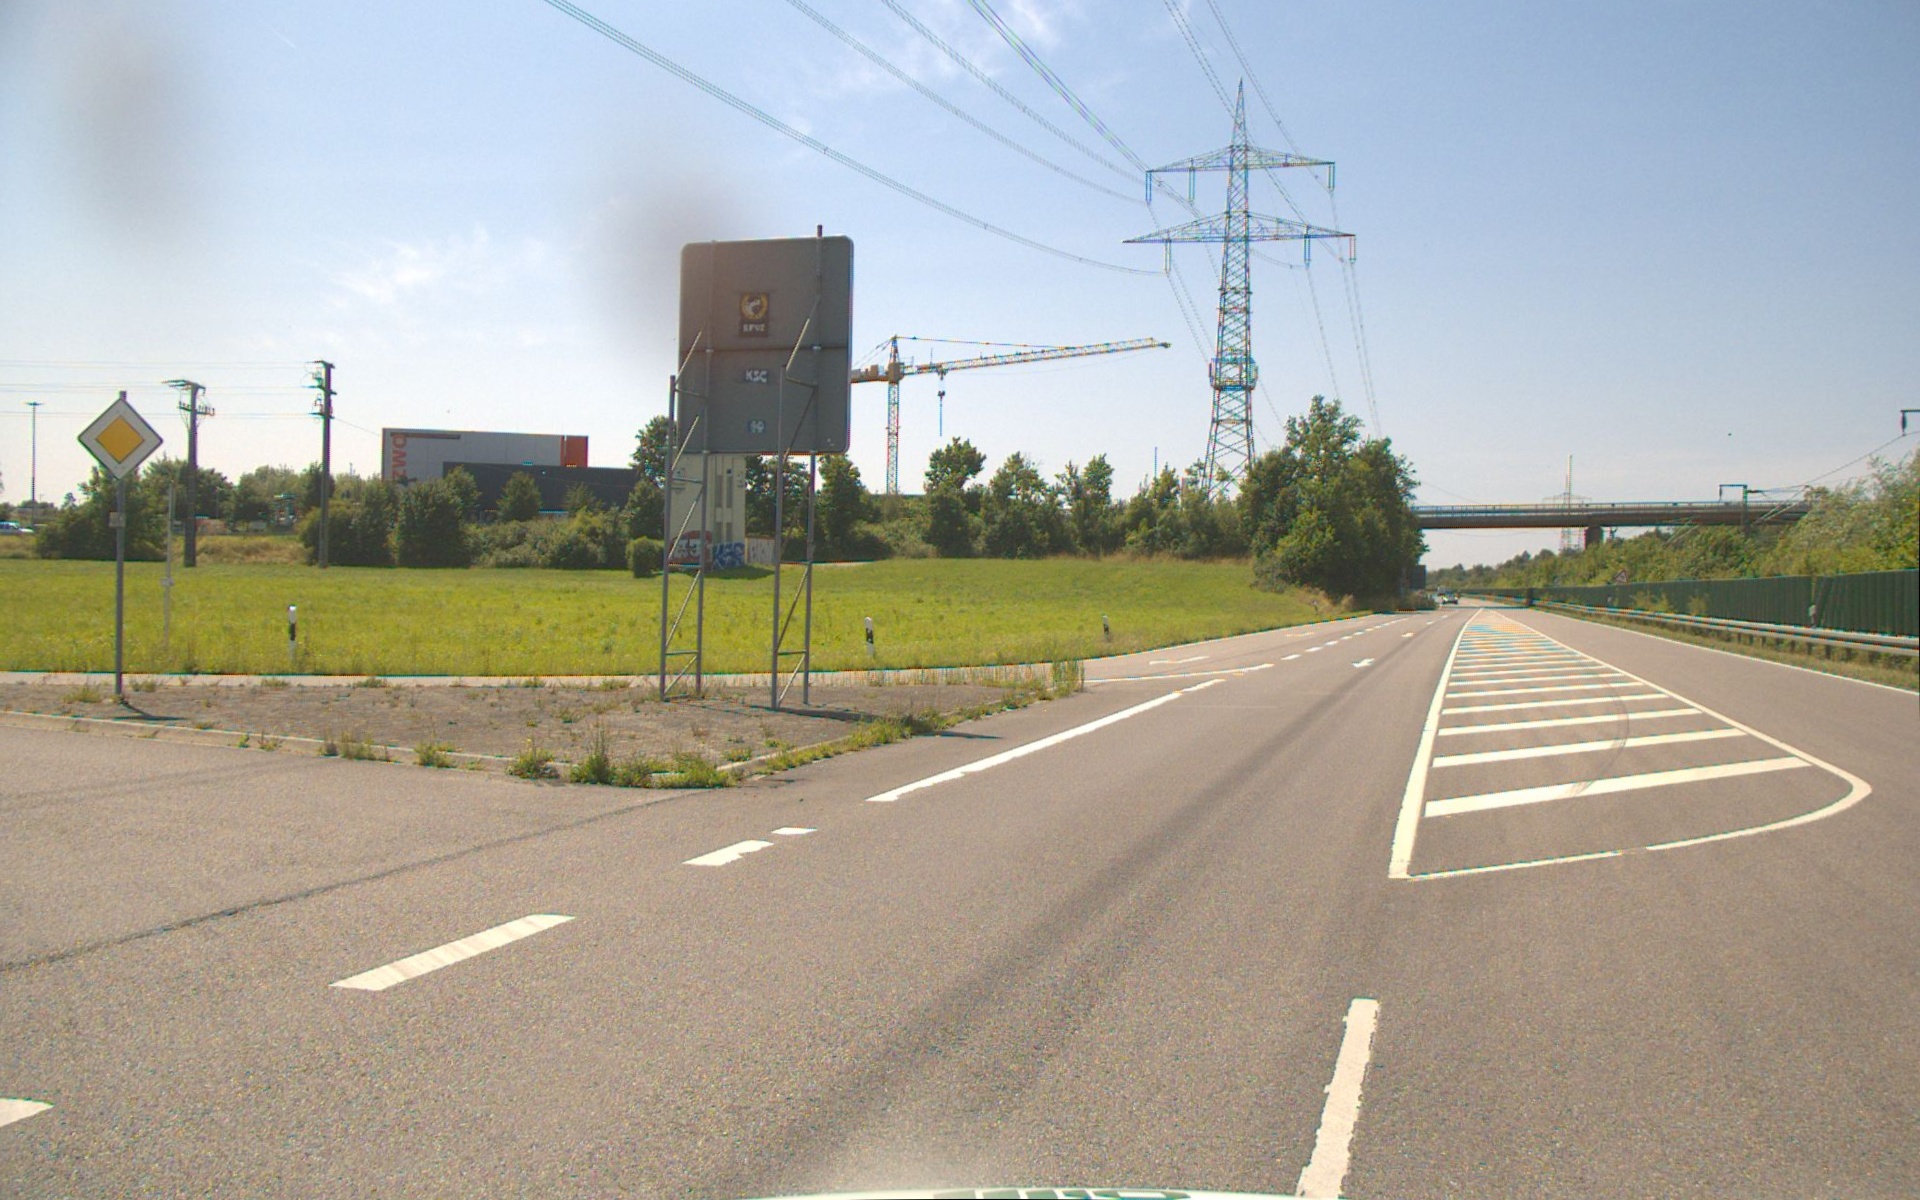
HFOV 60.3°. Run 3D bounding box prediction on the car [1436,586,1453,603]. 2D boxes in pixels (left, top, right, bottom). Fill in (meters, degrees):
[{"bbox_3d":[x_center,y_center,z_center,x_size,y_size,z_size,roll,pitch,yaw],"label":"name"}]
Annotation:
[{"bbox_3d":[61.265,-0.665,209.079,1.951,2.049,4.003,2,1,16],"label":"car"}]
